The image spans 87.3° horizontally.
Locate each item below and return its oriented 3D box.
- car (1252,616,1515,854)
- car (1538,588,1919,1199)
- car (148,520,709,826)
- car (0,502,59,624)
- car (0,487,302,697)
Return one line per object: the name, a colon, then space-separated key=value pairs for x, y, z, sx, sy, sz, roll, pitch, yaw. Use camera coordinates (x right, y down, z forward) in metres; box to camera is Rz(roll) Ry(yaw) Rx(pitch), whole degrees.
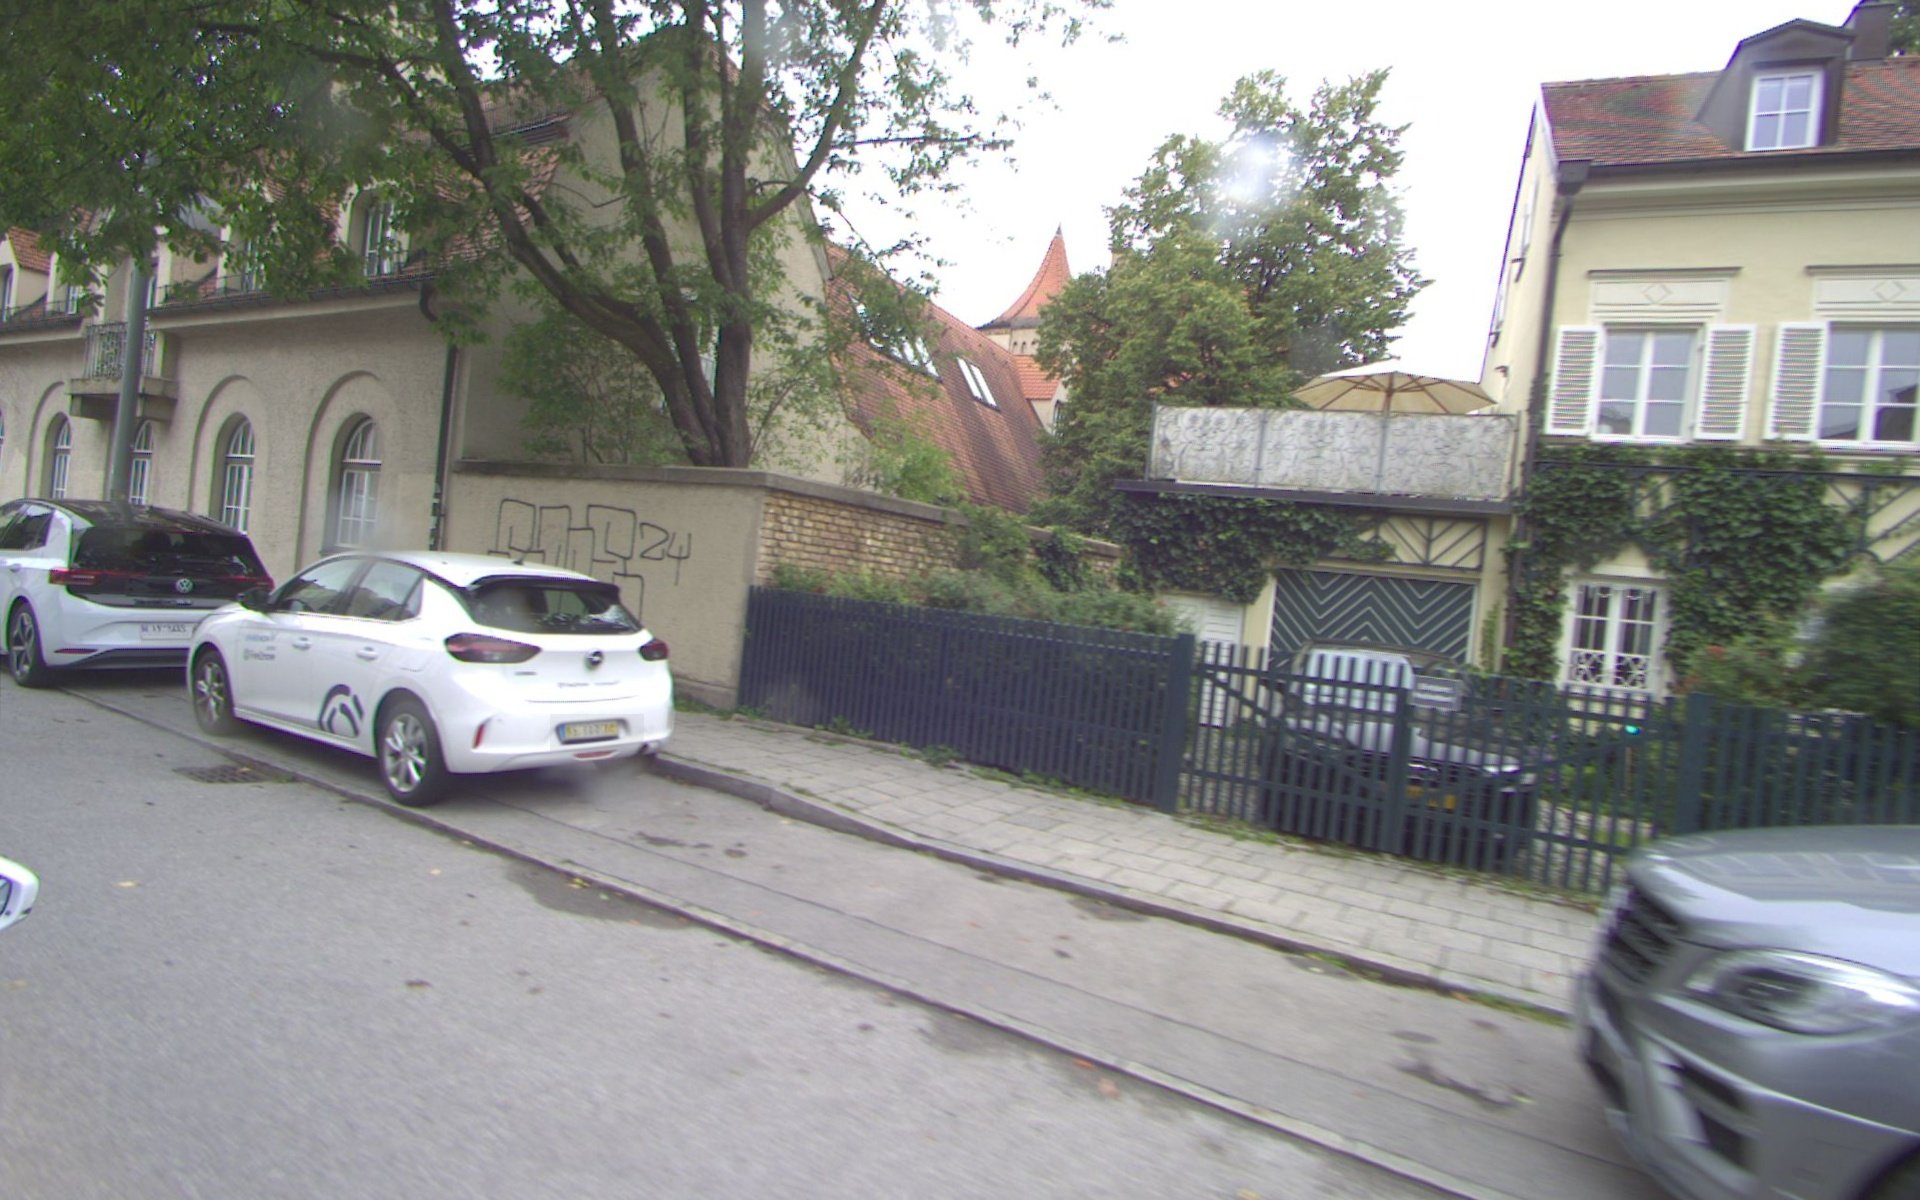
car: x=3.972 y=1.029 z=9.329 sx=1.650 sy=1.520 sz=4.080 roll=7 pitch=1 yaw=25
car: x=4.140 y=1.108 z=2.164 sx=4.800 sy=1.734 sz=1.996 roll=7 pitch=2 yaw=29
car: x=-3.855 y=0.349 z=7.117 sx=3.934 sy=1.459 sz=1.686 roll=6 pitch=1 yaw=32
car: x=-13.132 y=-0.644 z=12.465 sx=4.367 sy=1.387 sz=1.708 roll=7 pitch=1 yaw=31
car: x=-8.254 y=-0.199 z=9.552 sx=4.170 sy=1.558 sz=1.707 roll=7 pitch=2 yaw=32
